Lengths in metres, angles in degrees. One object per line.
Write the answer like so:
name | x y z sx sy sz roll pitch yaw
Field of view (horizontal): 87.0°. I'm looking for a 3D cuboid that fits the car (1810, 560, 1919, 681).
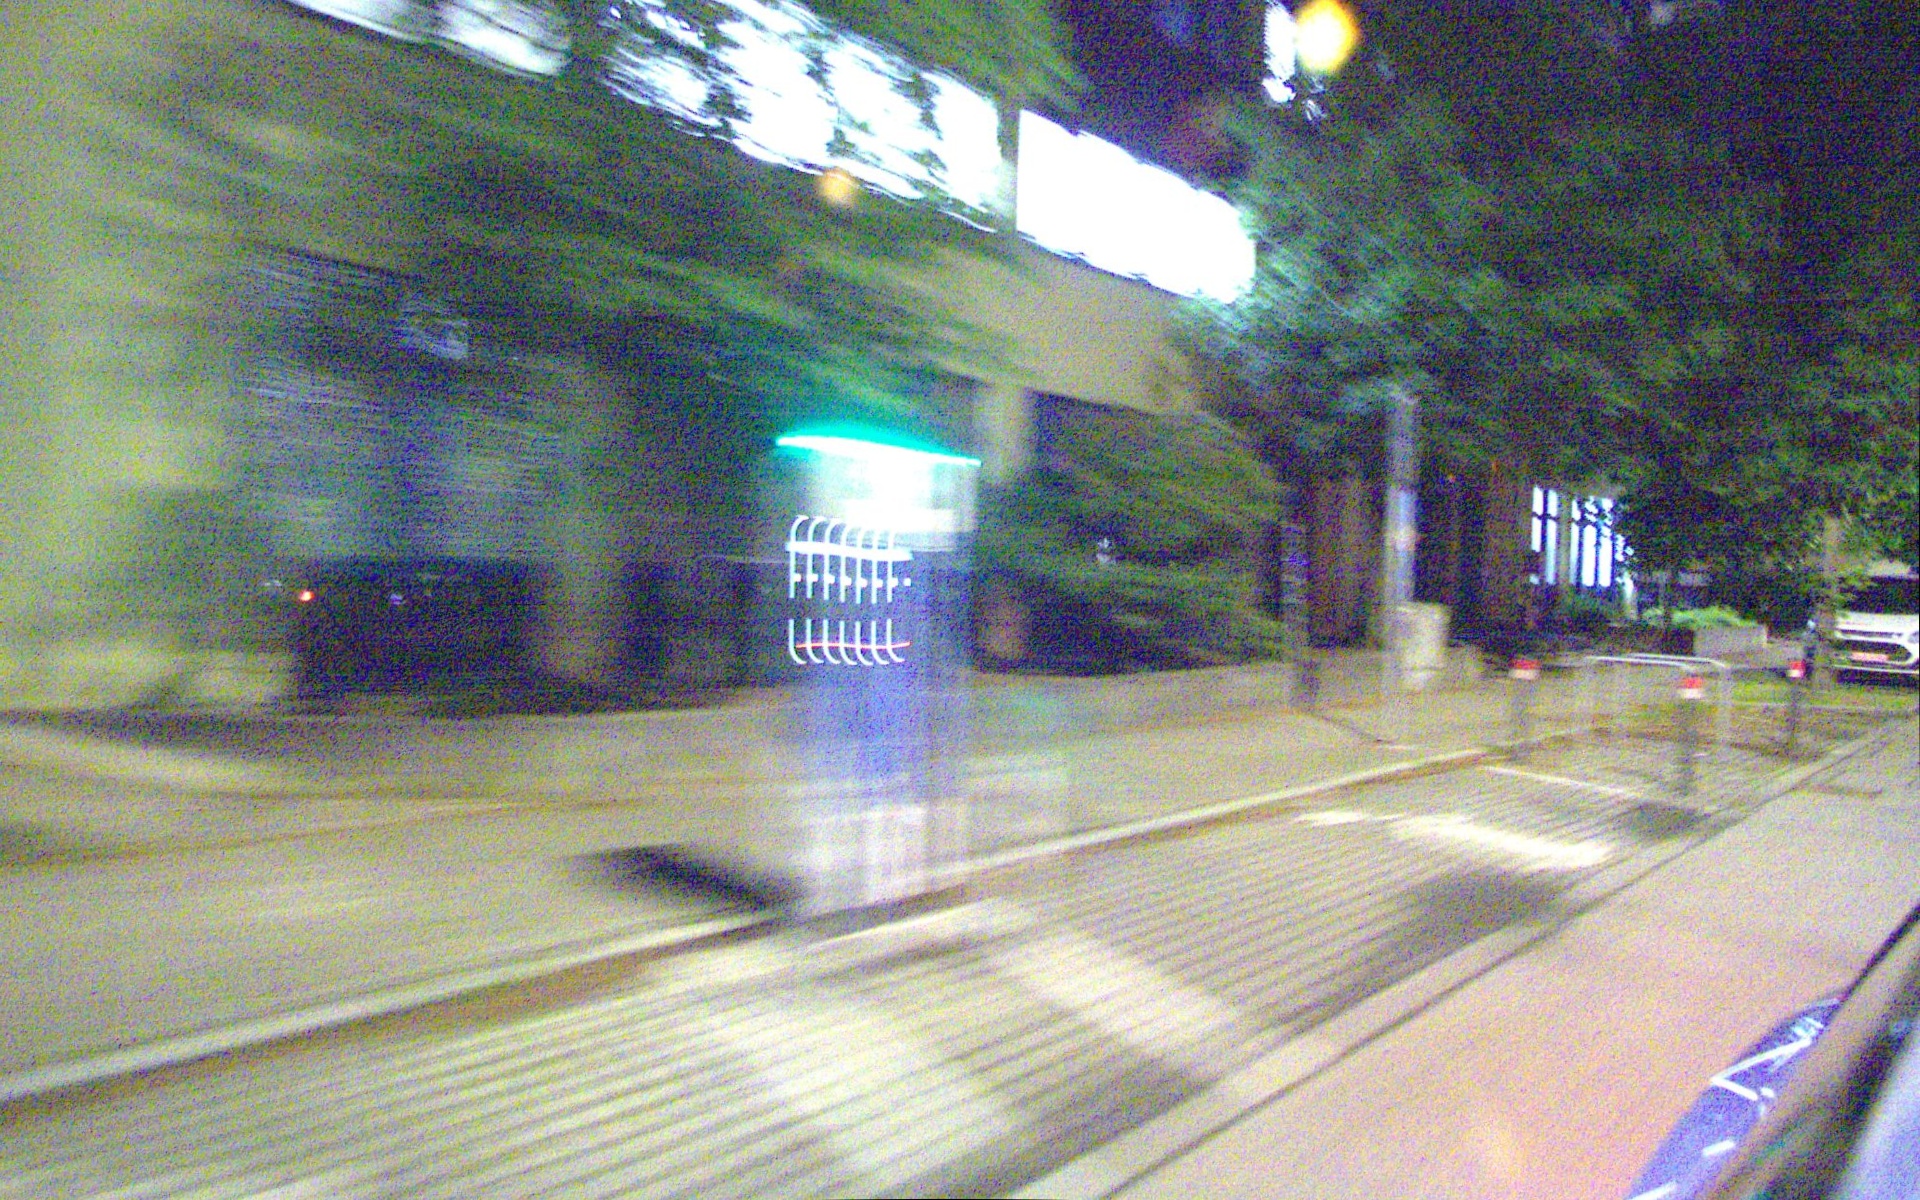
car | 17.363 0.320 18.667 4.525 1.988 1.954 0 2 -42
